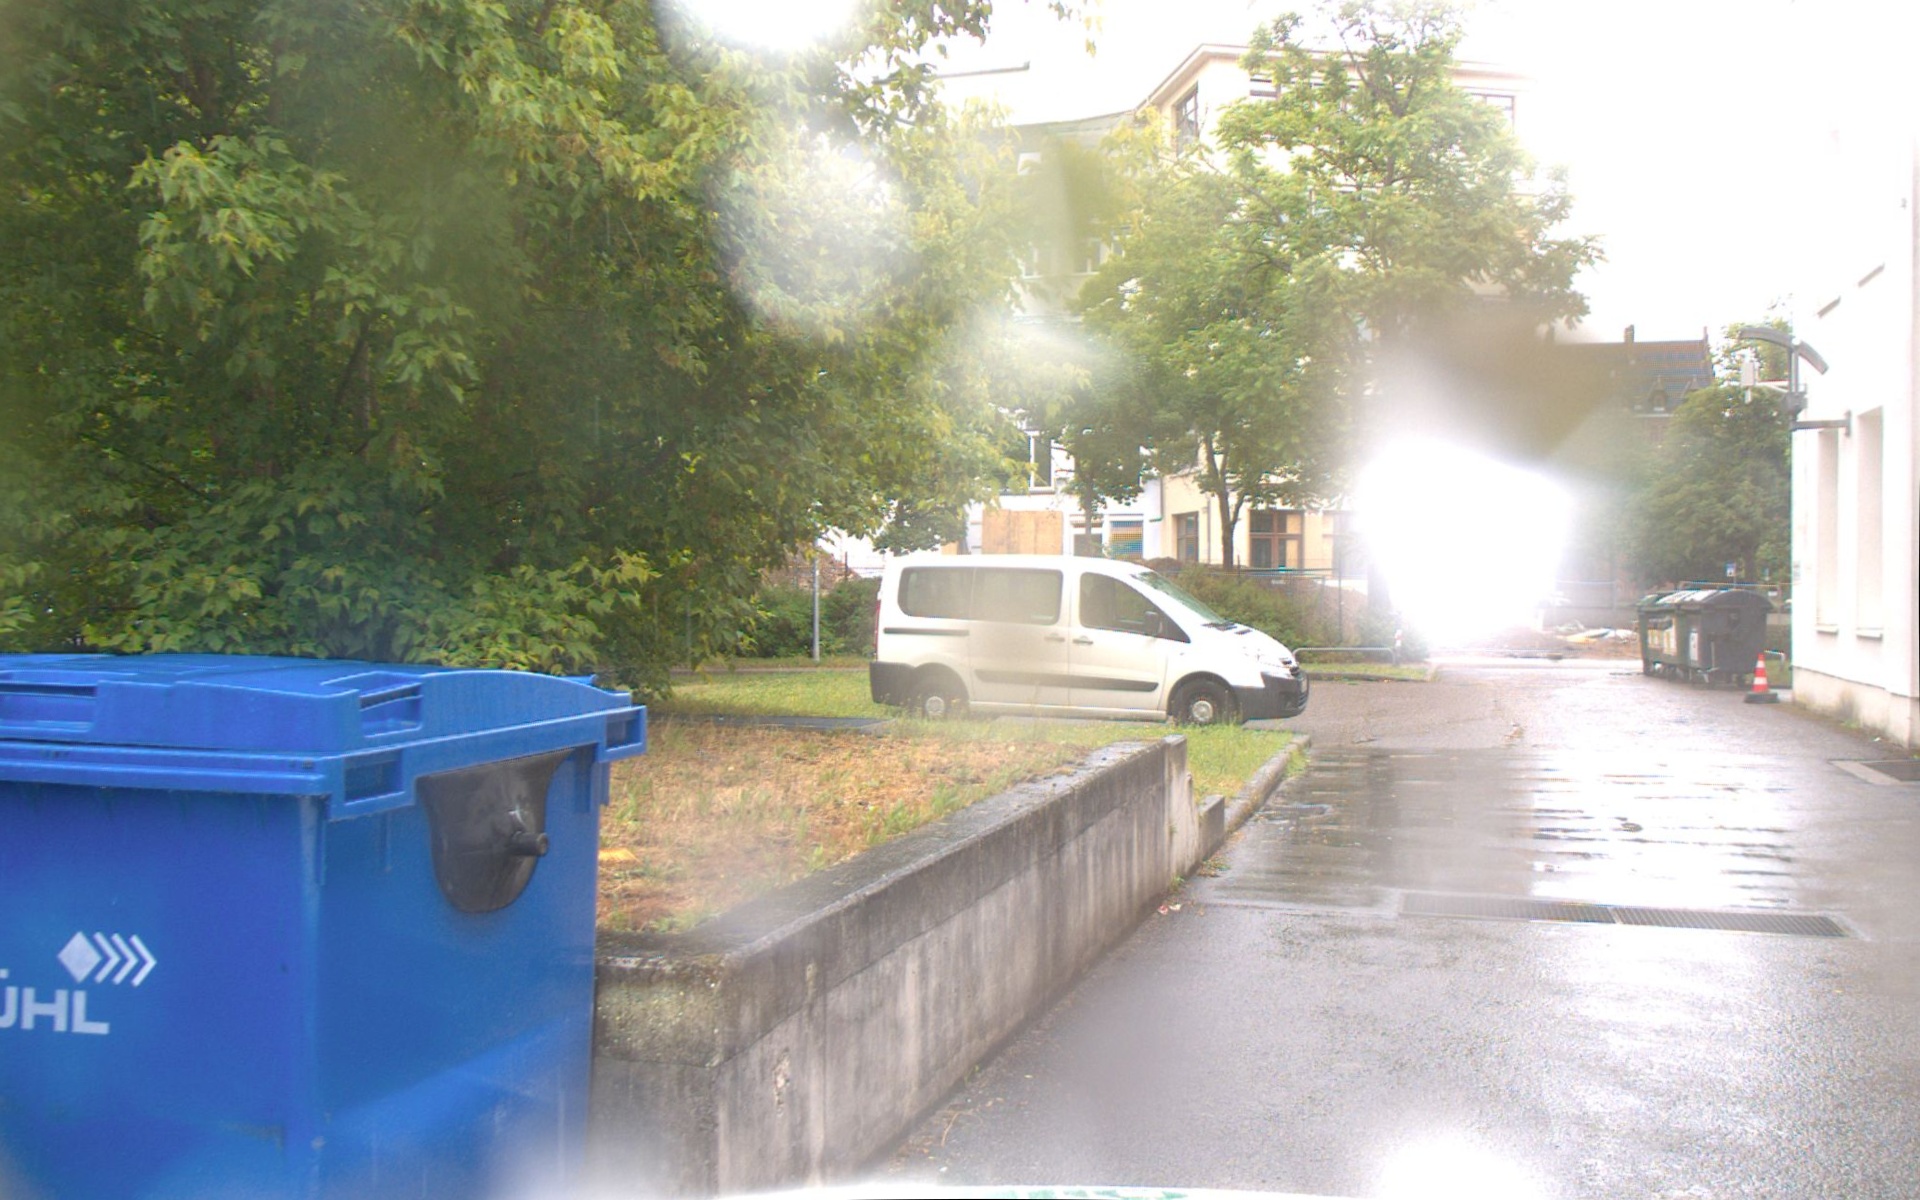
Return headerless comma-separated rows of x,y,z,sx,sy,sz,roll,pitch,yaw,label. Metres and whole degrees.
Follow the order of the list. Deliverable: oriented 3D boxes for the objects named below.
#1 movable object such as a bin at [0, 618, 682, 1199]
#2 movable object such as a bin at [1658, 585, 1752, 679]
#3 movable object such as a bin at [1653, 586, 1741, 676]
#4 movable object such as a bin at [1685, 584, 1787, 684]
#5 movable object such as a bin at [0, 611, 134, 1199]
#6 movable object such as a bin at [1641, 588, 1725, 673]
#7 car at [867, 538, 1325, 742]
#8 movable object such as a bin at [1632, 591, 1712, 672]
-1.273,0.728,2.981,1.196,1.360,1.007,0,1,18,movable object such as a bin
11.960,0.520,26.597,1.189,1.462,1.295,0,-2,16,movable object such as a bin
12.481,0.530,28.045,1.189,1.494,1.236,0,-2,15,movable object such as a bin
11.625,0.513,24.827,1.189,1.462,1.236,0,-2,15,movable object such as a bin
-2.516,0.718,3.283,1.196,1.360,1.007,0,1,18,movable object such as a bin
12.823,0.540,29.381,1.189,1.462,1.260,0,-2,16,movable object such as a bin
1.531,0.419,18.260,4.680,2.049,2.001,-1,0,19,car
13.202,0.587,30.707,1.189,1.462,1.260,0,-2,16,movable object such as a bin
